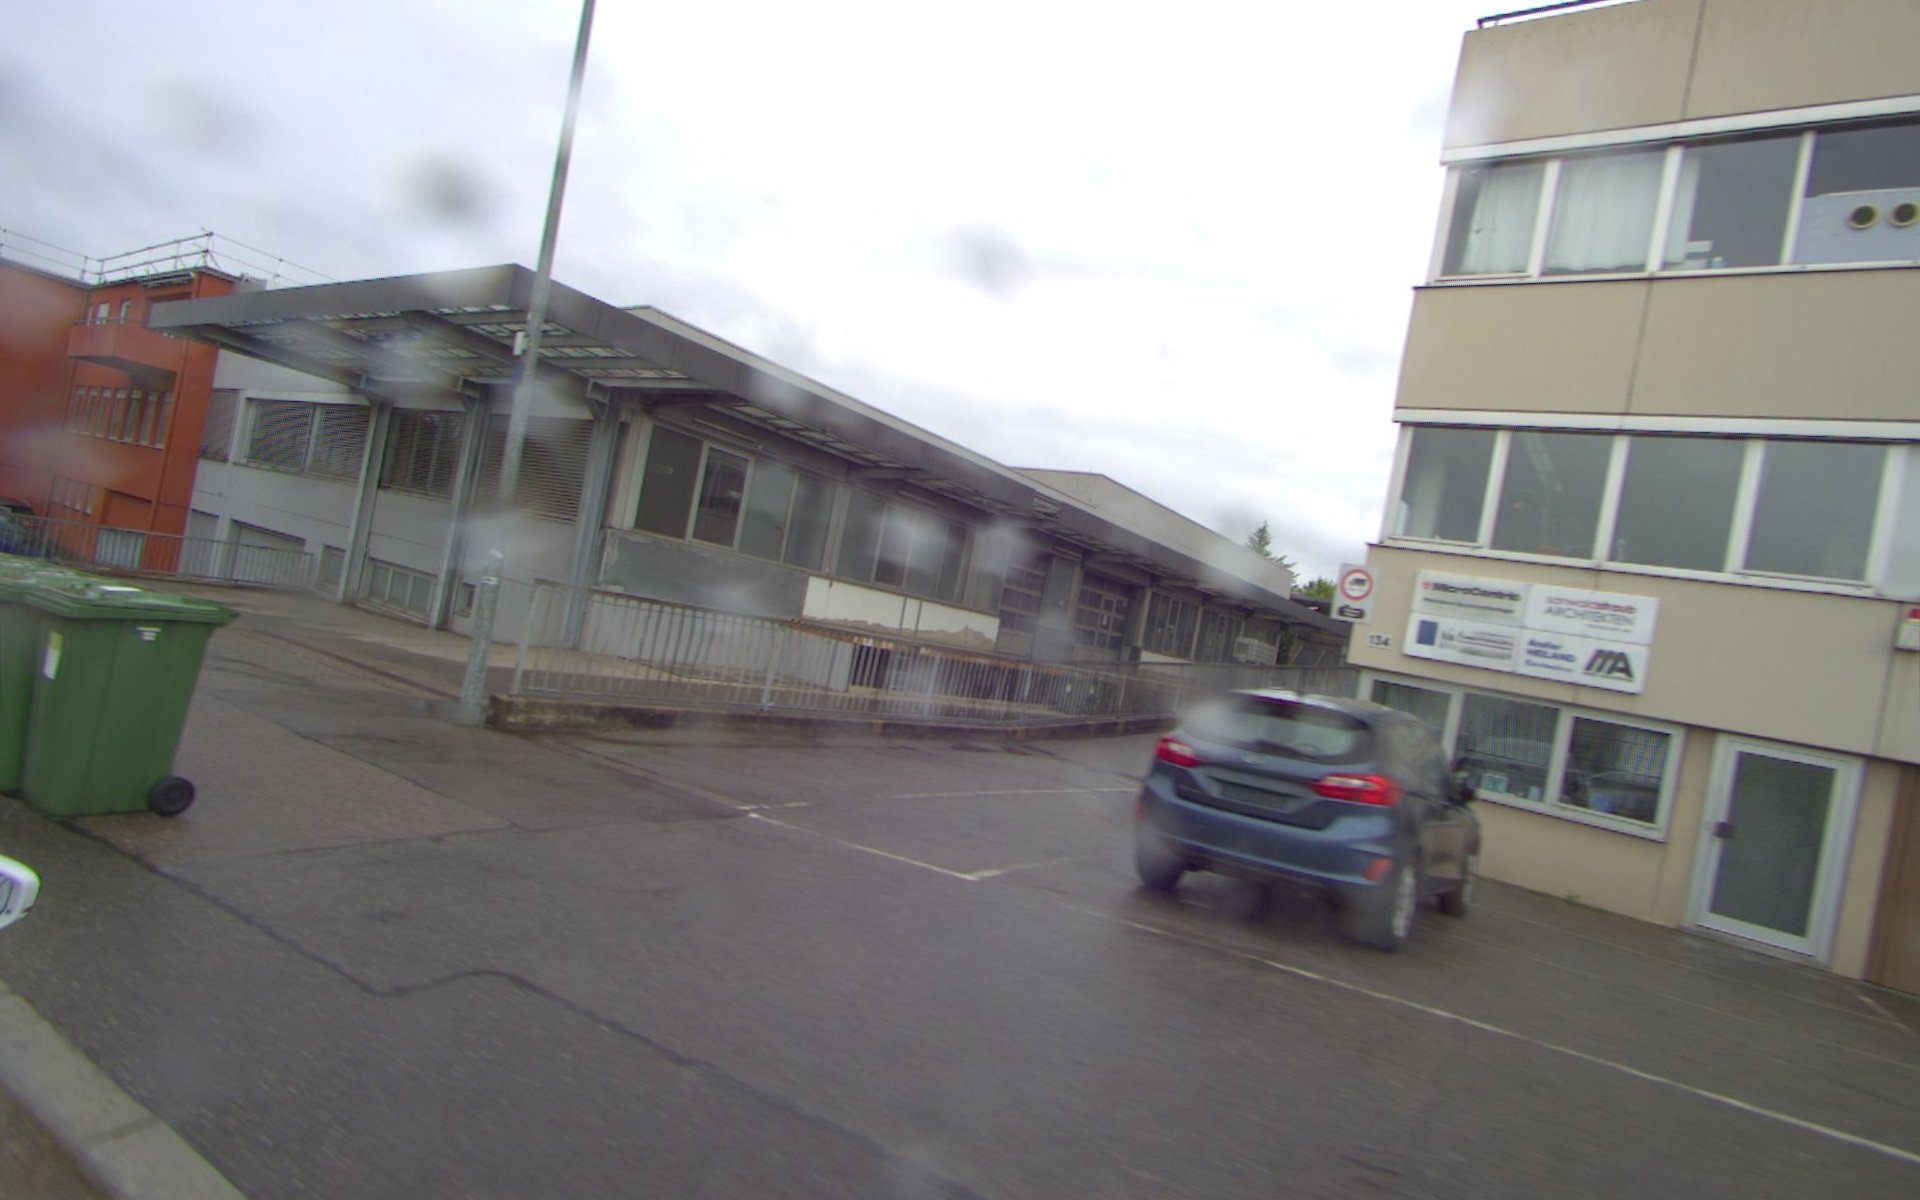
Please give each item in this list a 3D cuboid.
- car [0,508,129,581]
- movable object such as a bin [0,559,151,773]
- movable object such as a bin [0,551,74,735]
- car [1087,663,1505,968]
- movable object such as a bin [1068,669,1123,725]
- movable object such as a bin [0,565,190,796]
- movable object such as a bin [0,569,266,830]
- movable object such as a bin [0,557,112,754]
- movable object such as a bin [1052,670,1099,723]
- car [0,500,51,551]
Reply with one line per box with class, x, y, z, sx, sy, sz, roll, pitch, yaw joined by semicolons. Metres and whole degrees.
car;-19.873;-1.283;21.073;1.765;1.176;3.403;7;-3;38
movable object such as a bin;-5.168;0.355;5.585;0.532;1.103;0.811;7;-1;31
movable object such as a bin;-6.143;0.234;6.179;0.614;1.092;0.803;7;-1;31
car;2.701;1.450;7.403;1.792;1.397;3.903;6;-5;35
movable object such as a bin;3.714;2.658;27.535;1.019;1.337;0.874;7;-2;41
movable object such as a bin;-4.696;0.412;5.279;0.574;1.088;0.776;7;-1;31
movable object such as a bin;-4.128;0.477;4.982;0.697;1.105;0.808;7;-1;31
movable object such as a bin;-5.638;0.304;5.871;0.572;1.089;0.810;7;-1;31
movable object such as a bin;3.082;2.569;26.796;0.673;1.278;0.995;7;-2;38
car;-32.185;-2.589;33.647;3.938;1.437;1.731;5;-3;36
